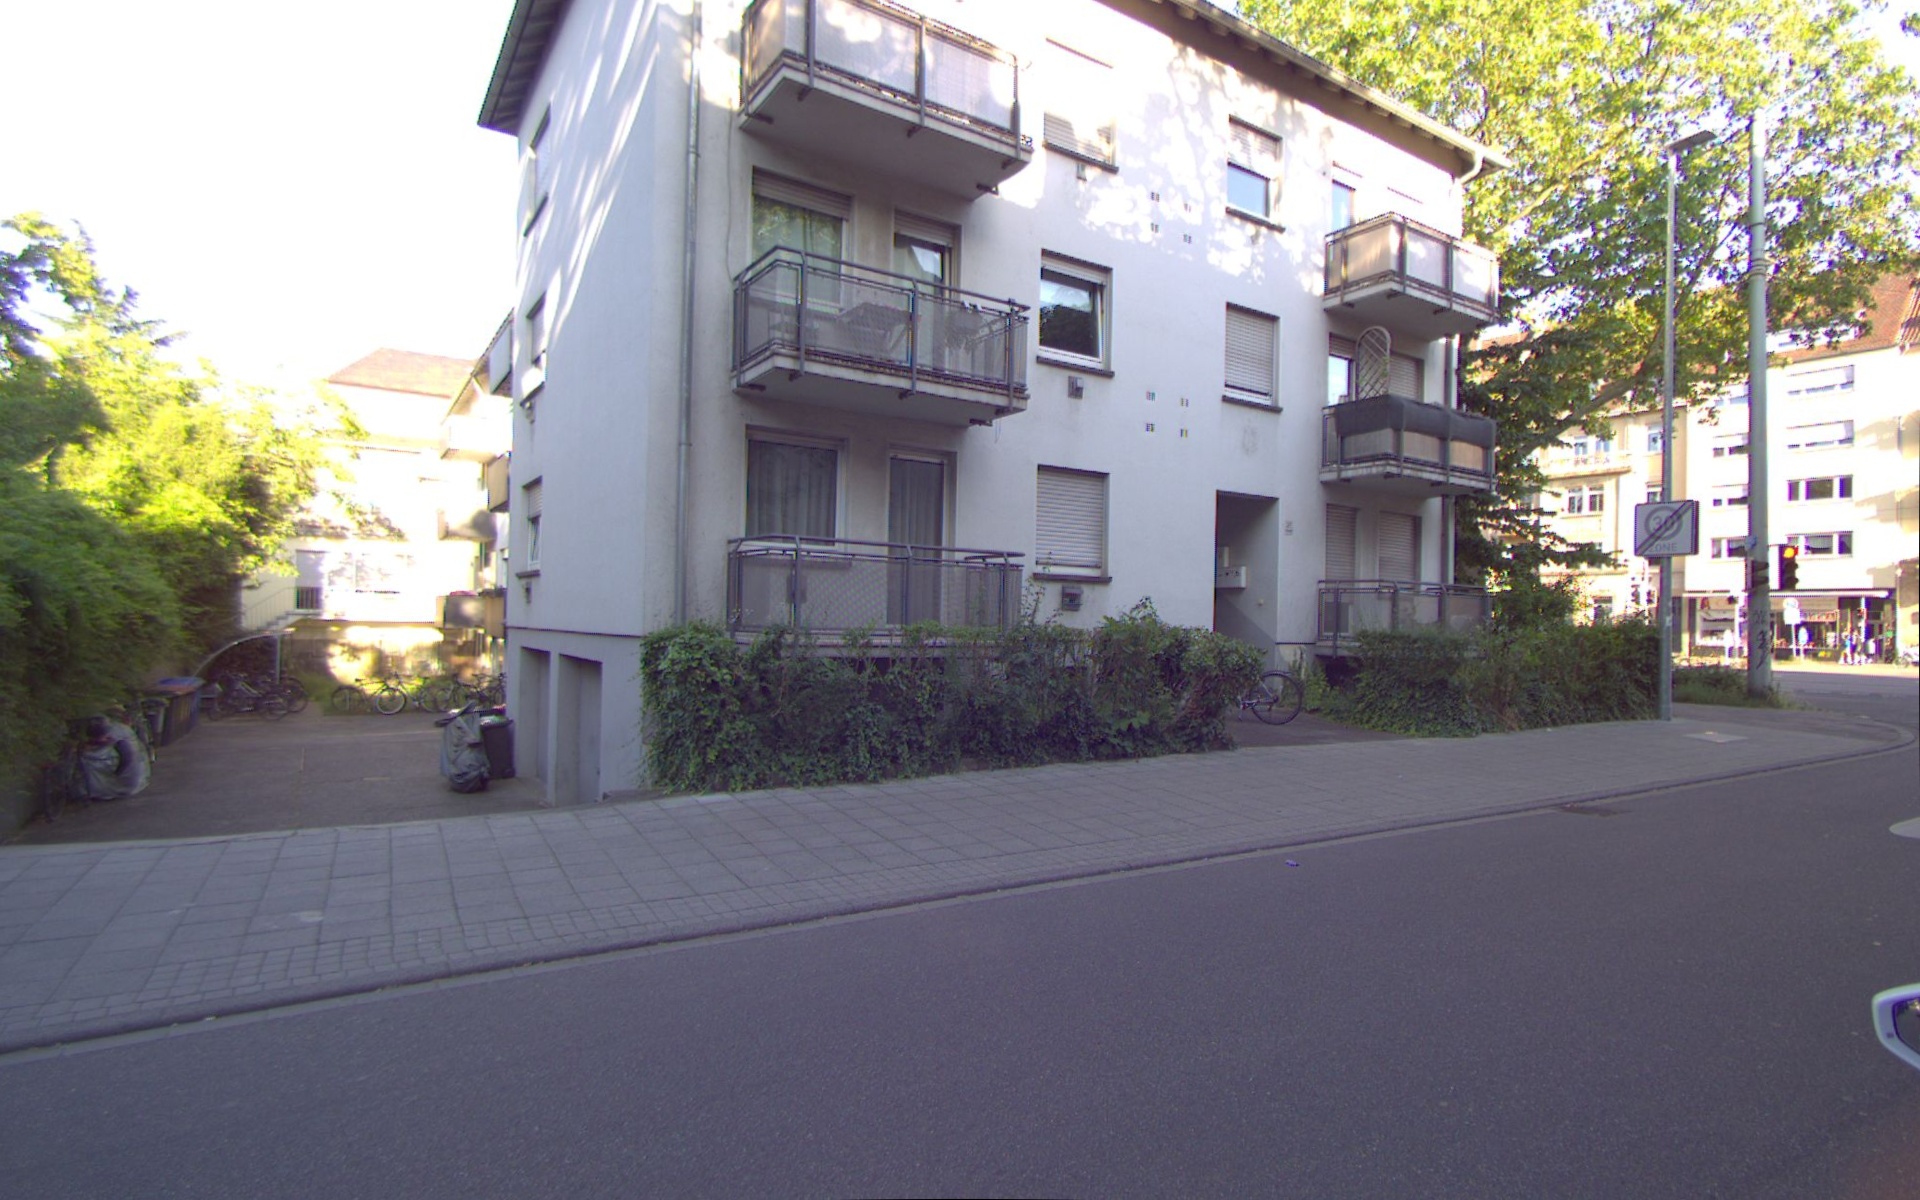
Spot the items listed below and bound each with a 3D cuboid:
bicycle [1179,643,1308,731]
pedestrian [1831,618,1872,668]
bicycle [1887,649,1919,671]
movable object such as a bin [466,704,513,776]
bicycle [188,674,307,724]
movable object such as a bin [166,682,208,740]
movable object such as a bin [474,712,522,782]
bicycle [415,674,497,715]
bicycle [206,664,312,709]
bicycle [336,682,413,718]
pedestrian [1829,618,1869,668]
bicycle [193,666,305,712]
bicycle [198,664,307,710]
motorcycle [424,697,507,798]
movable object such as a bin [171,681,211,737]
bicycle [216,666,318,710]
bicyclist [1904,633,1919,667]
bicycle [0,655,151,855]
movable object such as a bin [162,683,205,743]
[{"bbox_3d":[3.829,1.156,13.570,1.590,1.022,0.517,3,1,20],"label":"bicycle"},{"bbox_3d":[45.451,2.179,51.194,1.049,2.497,1.338,1,0,-34],"label":"pedestrian"},{"bbox_3d":[41.926,2.646,44.181,0.630,0.888,1.607,1,-1,-34],"label":"bicycle"},{"bbox_3d":[-7.916,2.339,16.900,0.606,1.129,0.795,1,-3,-33],"label":"movable object such as a bin"},{"bbox_3d":[-17.336,2.400,24.524,2.268,1.148,0.689,2,-4,-30],"label":"bicycle"},{"bbox_3d":[-15.930,2.273,20.722,0.606,1.129,0.795,1,-3,-33],"label":"movable object such as a bin"},{"bbox_3d":[-7.400,2.338,16.088,0.606,1.051,0.534,1,-3,-34],"label":"movable object such as a bin"},{"bbox_3d":[-13.912,2.590,27.743,1.982,1.085,0.561,2,-4,-30],"label":"bicycle"},{"bbox_3d":[-19.372,2.377,27.816,2.311,1.192,0.689,2,-4,-30],"label":"bicycle"},{"bbox_3d":[-15.566,2.643,26.743,1.734,0.890,0.561,2,-4,-30],"label":"bicycle"},{"bbox_3d":[46.162,2.213,52.180,1.049,2.497,1.338,1,0,-34],"label":"pedestrian"},{"bbox_3d":[-18.600,2.305,26.345,2.311,1.148,0.689,2,-4,-30],"label":"bicycle"},{"bbox_3d":[-19.026,2.337,27.091,2.311,1.192,0.689,2,-4,-30],"label":"bicycle"},{"bbox_3d":[-7.404,2.162,15.006,0.739,1.313,1.563,2,-2,-41],"label":"motorcycle"},{"bbox_3d":[-16.363,2.303,21.384,0.606,1.129,0.795,1,-3,-33],"label":"movable object such as a bin"},{"bbox_3d":[-19.643,2.470,28.539,2.311,1.192,0.689,2,-4,-30],"label":"bicycle"},{"bbox_3d":[41.971,2.202,44.125,0.630,1.445,0.639,1,-1,-35],"label":"bicyclist"},{"bbox_3d":[-10.601,1.667,11.978,0.961,1.917,4.156,1,-2,-32],"label":"bicycle"},{"bbox_3d":[-15.489,2.241,20.052,0.606,1.129,0.795,1,-3,-33],"label":"movable object such as a bin"}]
